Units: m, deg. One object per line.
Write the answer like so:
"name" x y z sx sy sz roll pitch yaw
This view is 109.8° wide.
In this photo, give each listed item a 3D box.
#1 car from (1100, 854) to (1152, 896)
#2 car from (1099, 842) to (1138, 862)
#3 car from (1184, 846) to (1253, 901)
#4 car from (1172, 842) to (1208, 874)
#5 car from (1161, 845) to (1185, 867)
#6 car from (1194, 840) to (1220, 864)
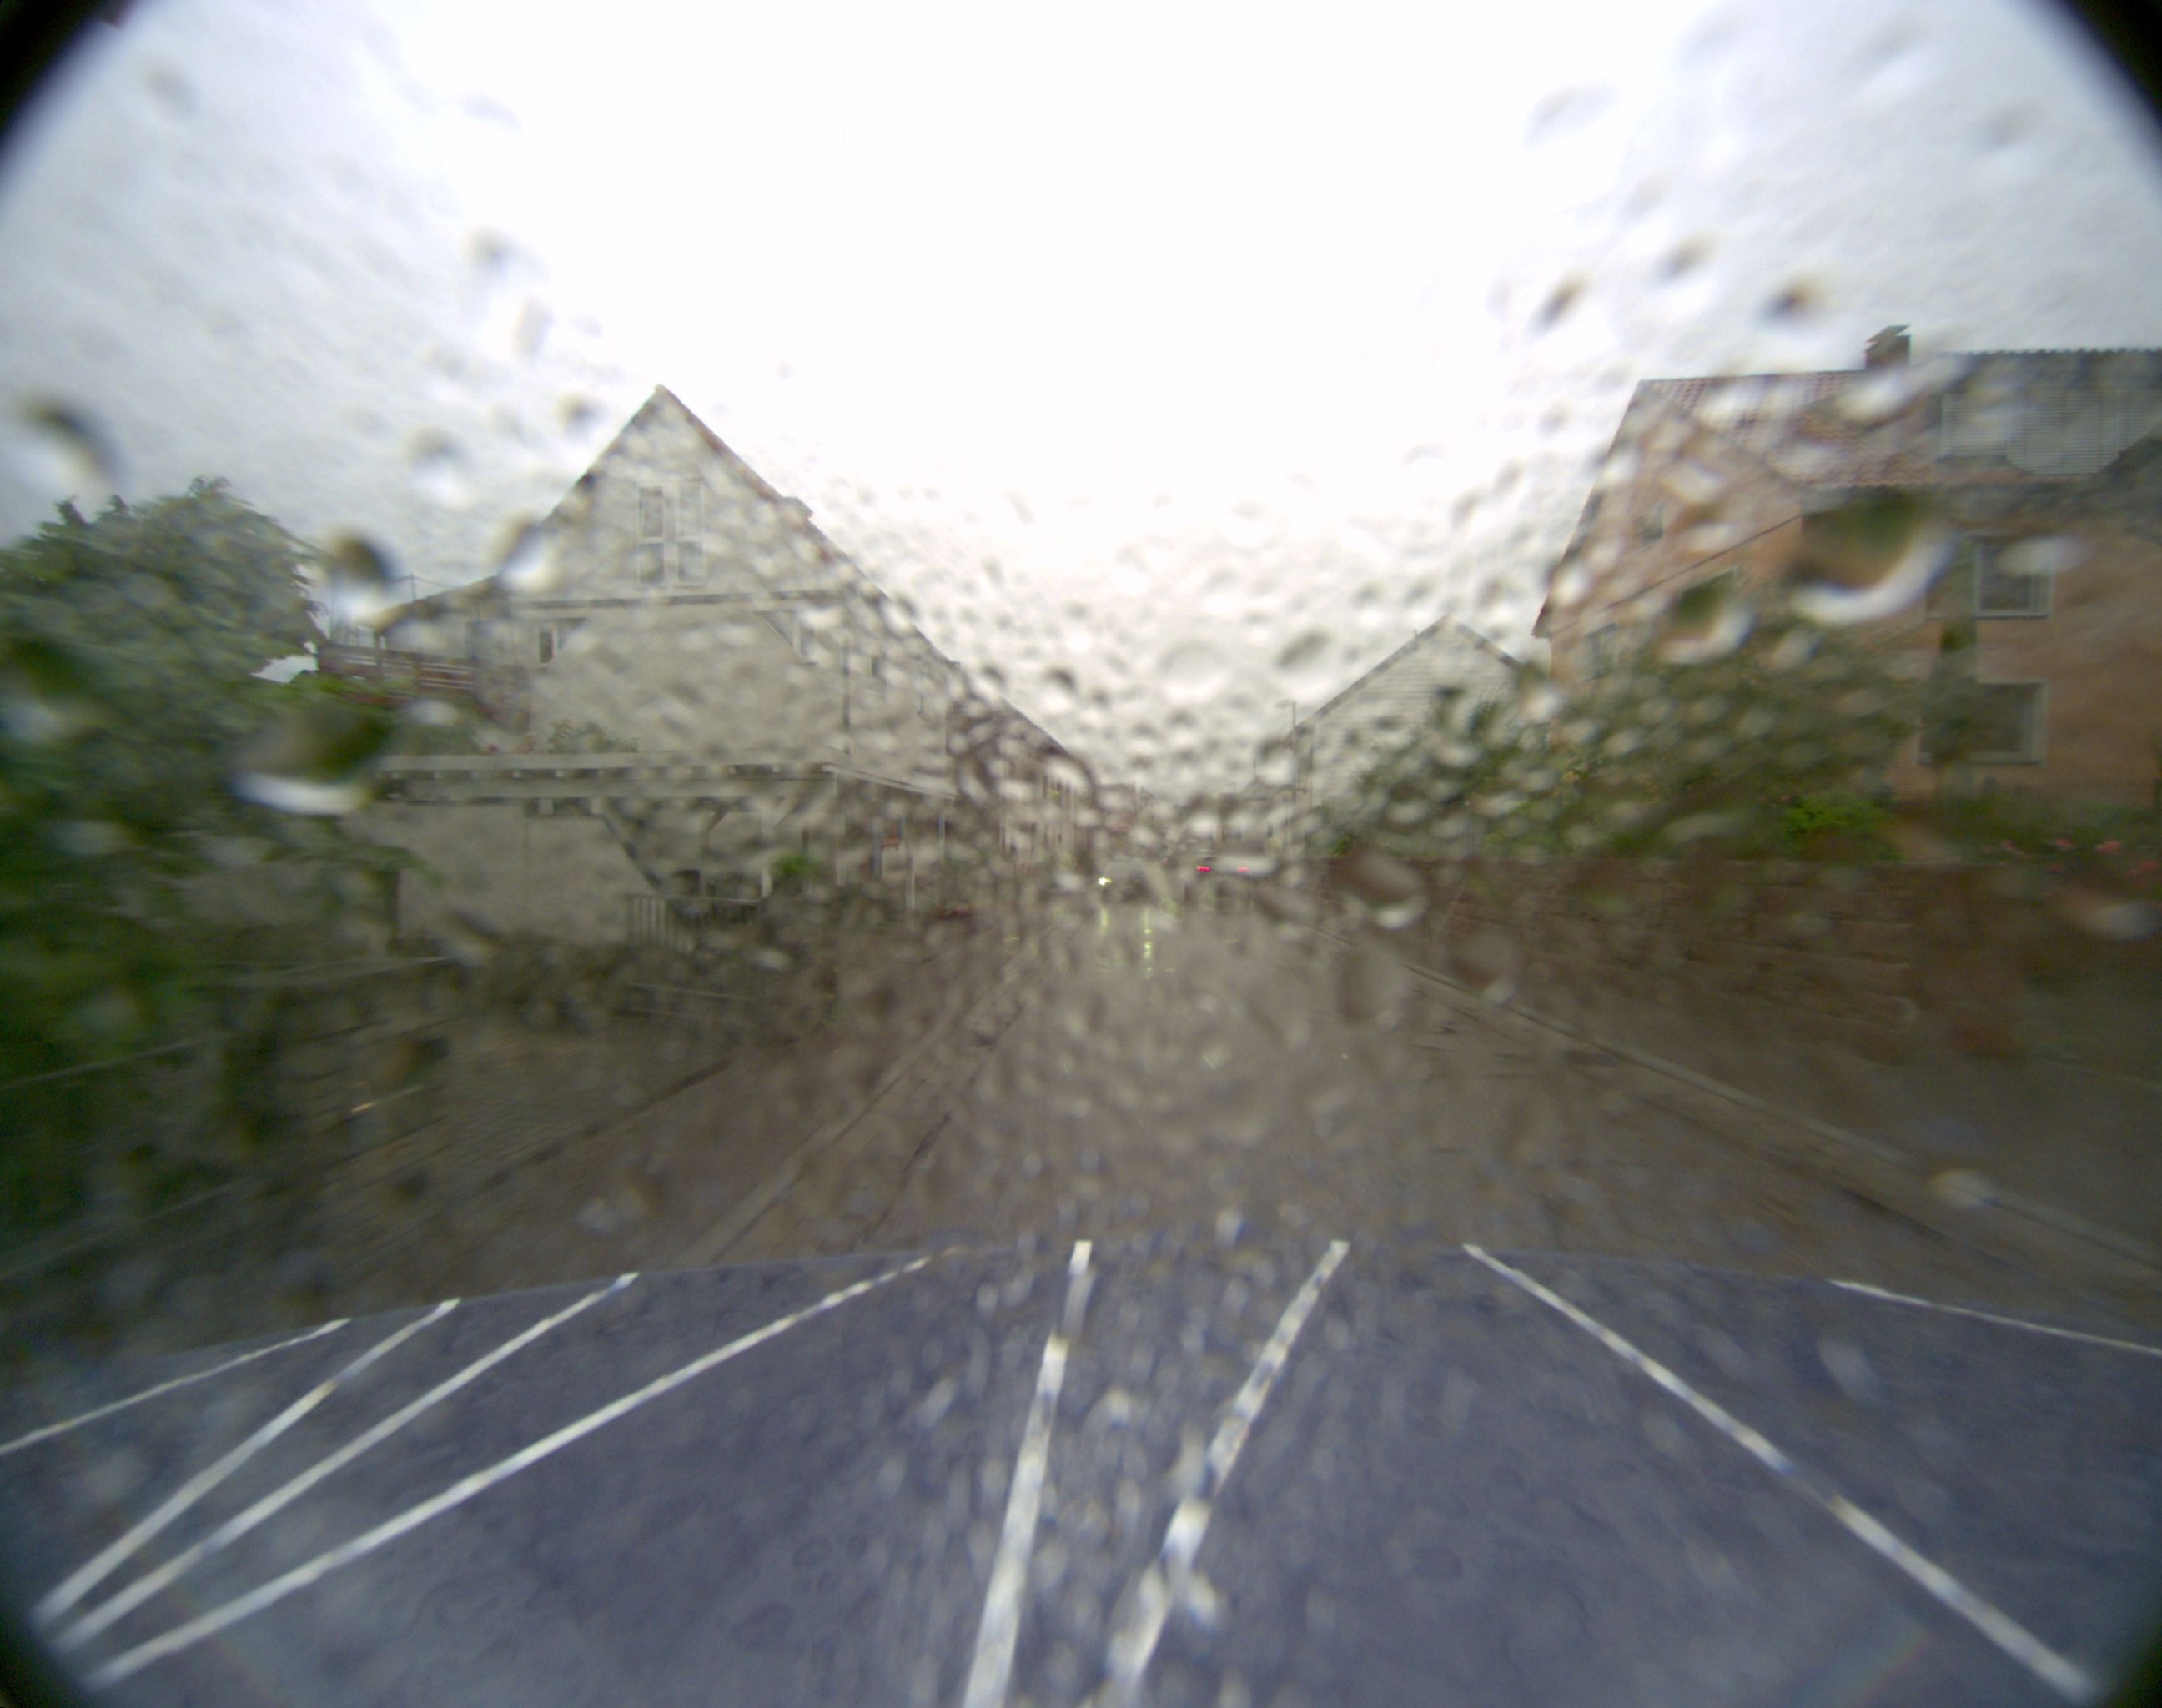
"car" 1.601 0.677 26.494 1.666 1.290 3.519 -2 0 4
"car" 3.148 -0.207 65.202 1.893 1.566 3.884 -3 1 -21
"car" 4.261 0.563 23.974 1.703 1.538 3.851 2 1 4
"car" 6.180 0.182 43.668 1.838 1.664 5.198 1 2 6
"car" 6.638 0.130 55.164 1.582 1.473 3.717 2 0 6
"car" 9.837 -0.181 58.946 1.814 1.674 4.186 1 2 11
